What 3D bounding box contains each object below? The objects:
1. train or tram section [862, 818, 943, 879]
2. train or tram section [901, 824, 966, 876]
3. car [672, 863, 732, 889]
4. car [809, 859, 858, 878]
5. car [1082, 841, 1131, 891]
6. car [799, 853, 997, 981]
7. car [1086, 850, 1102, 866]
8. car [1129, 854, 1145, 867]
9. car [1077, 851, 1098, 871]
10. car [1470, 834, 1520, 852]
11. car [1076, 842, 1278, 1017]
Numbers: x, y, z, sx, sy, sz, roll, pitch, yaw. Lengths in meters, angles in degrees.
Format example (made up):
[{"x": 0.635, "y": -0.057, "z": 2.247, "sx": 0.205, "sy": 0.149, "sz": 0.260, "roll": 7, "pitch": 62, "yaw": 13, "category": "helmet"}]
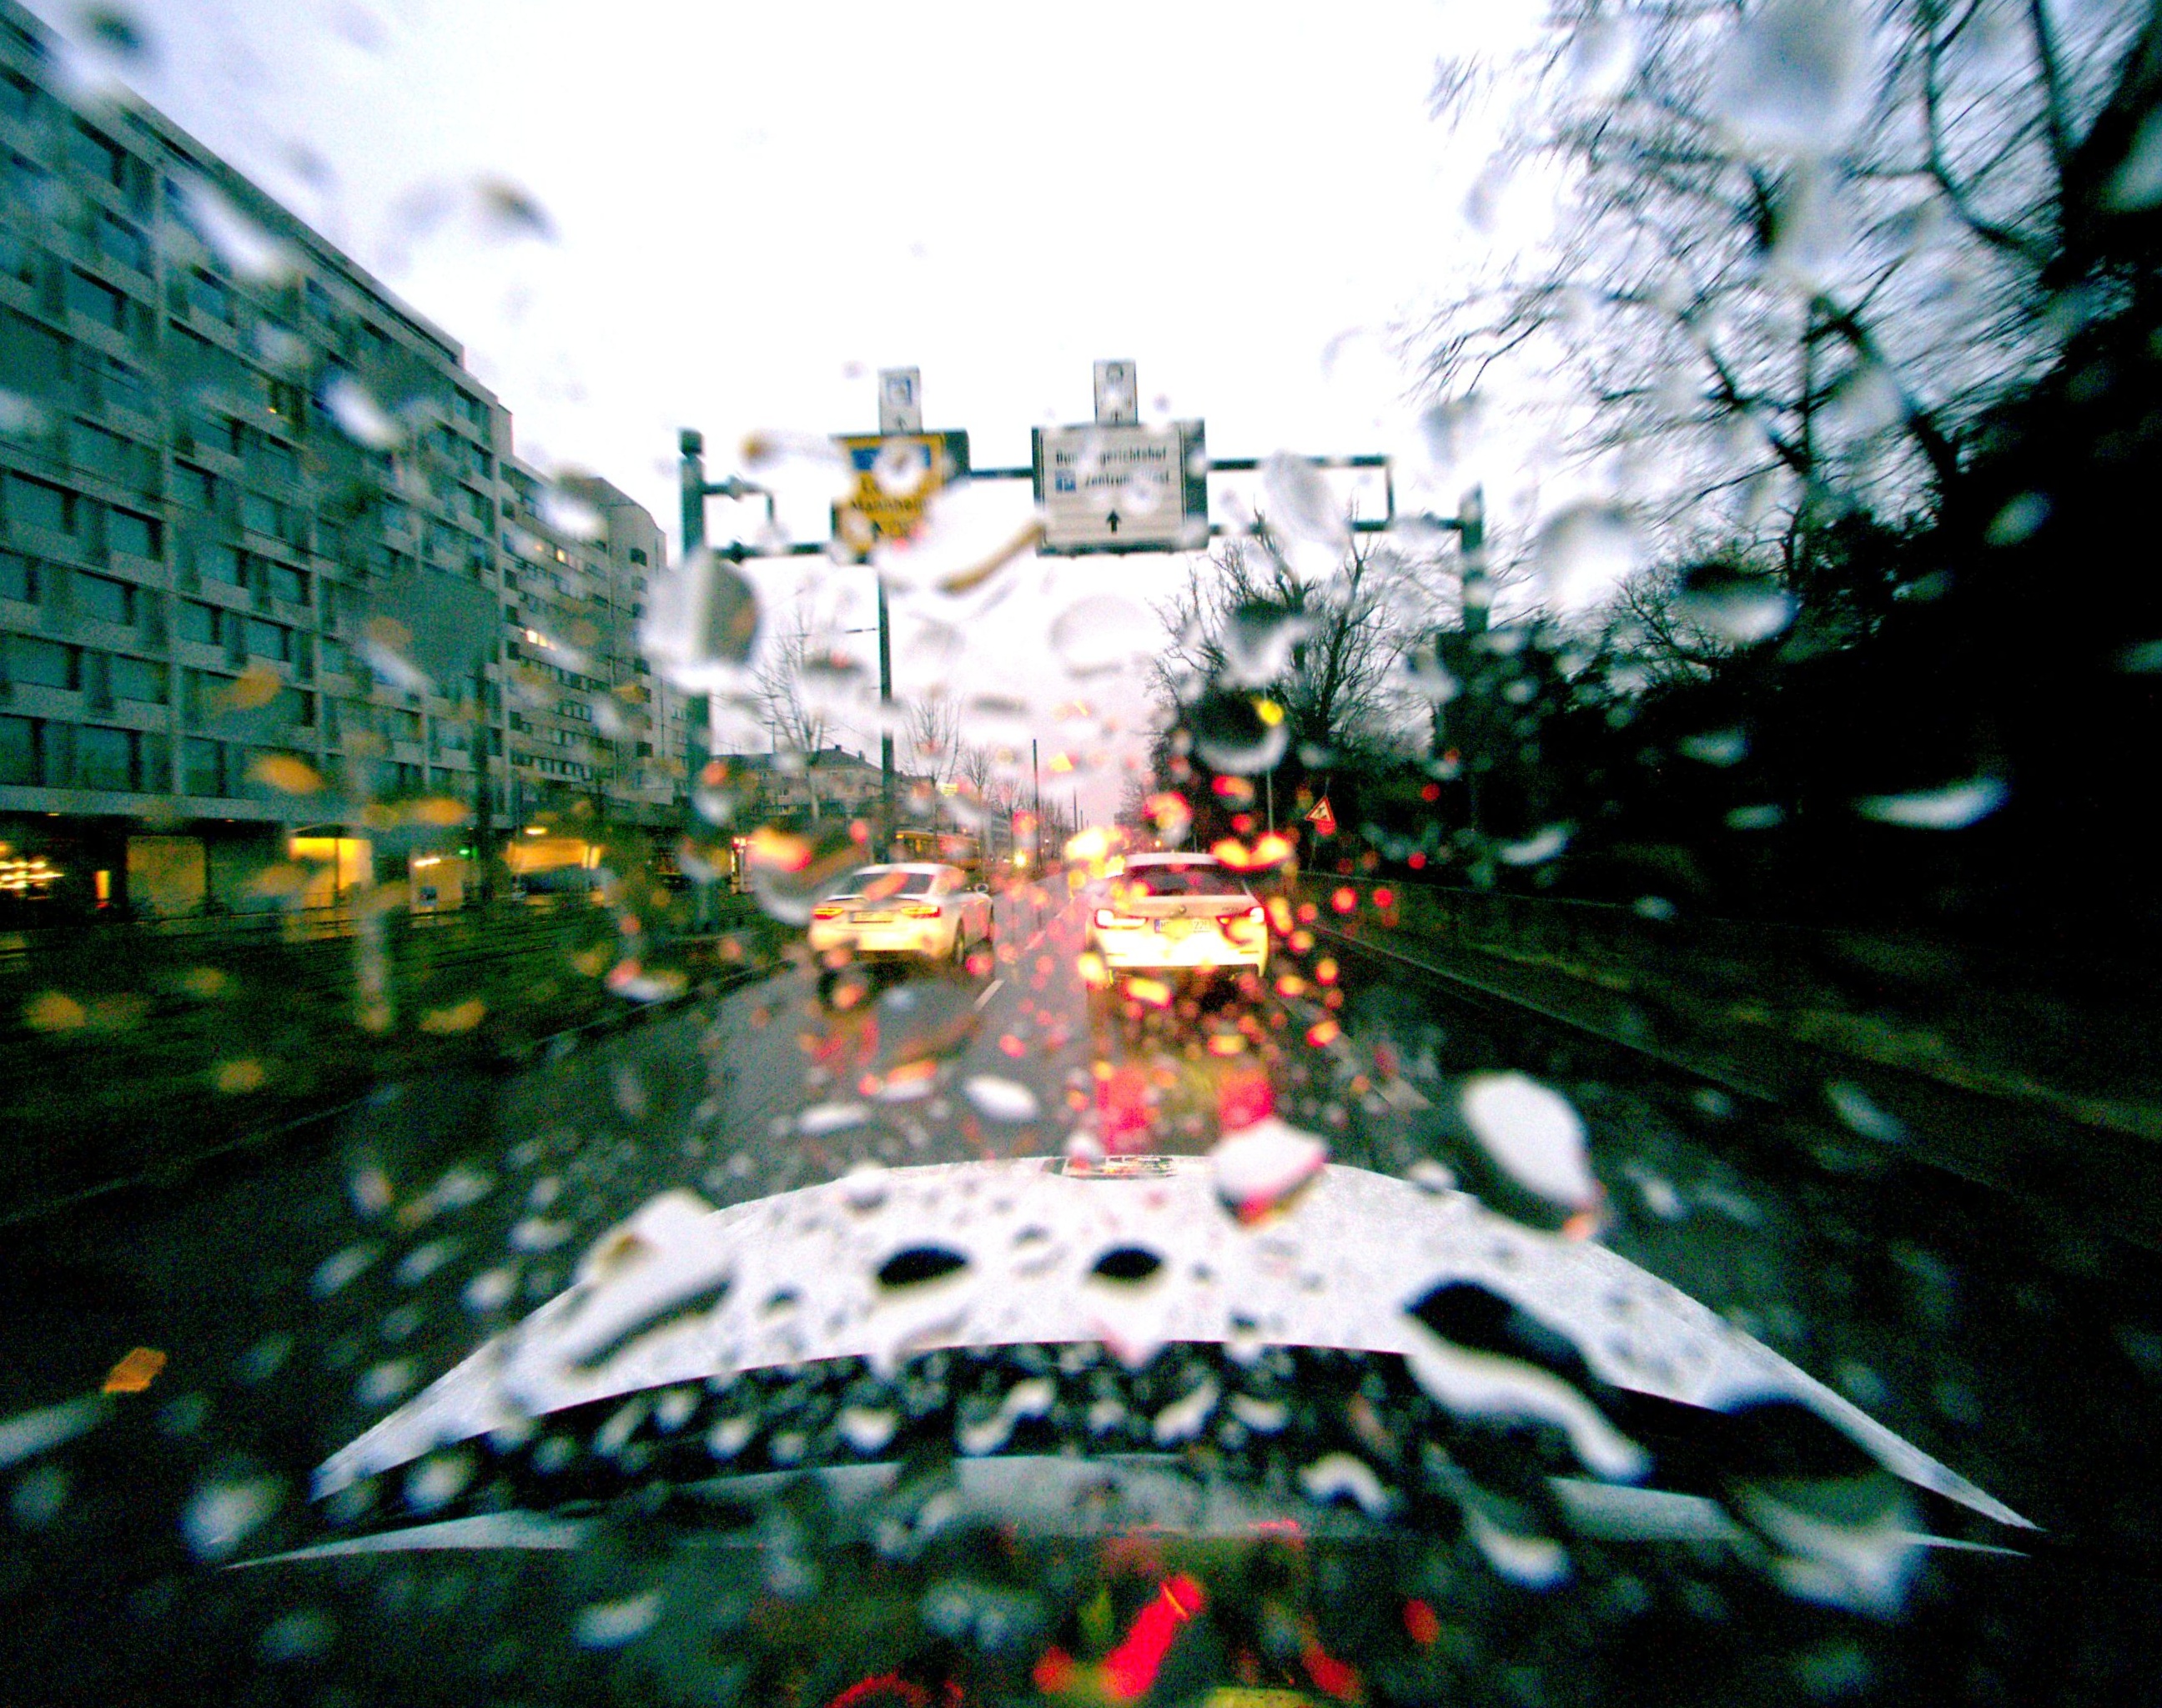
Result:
[{"x": -11.399, "y": -0.305, "z": 53.014, "sx": 2.831, "sy": 3.504, "sz": 9.162, "roll": -3, "pitch": 0, "yaw": 2, "category": "train or tram section"}, {"x": -11.068, "y": -0.291, "z": 62.198, "sx": 2.831, "sy": 3.504, "sz": 9.162, "roll": -3, "pitch": 0, "yaw": 2, "category": "train or tram section"}, {"x": -29.490, "y": 1.668, "z": 63.387, "sx": 3.839, "sy": 1.797, "sz": 1.887, "roll": -2, "pitch": 0, "yaw": -39, "category": "car"}, {"x": -27.919, "y": 1.602, "z": 91.946, "sx": 4.909, "sy": 2.013, "sz": 1.977, "roll": -2, "pitch": 0, "yaw": -40, "category": "car"}, {"x": 1.100, "y": 0.503, "z": 35.334, "sx": 1.986, "sy": 2.013, "sz": 4.002, "roll": -1, "pitch": 0, "yaw": 2, "category": "car"}, {"x": -2.367, "y": 0.738, "z": 11.658, "sx": 1.753, "sy": 1.469, "sz": 4.252, "roll": -1, "pitch": 0, "yaw": 1, "category": "car"}, {"x": 1.675, "y": 0.558, "z": 105.925, "sx": 1.986, "sy": 2.013, "sz": 4.002, "roll": -1, "pitch": 0, "yaw": 2, "category": "car"}, {"x": 8.749, "y": 1.052, "z": 127.010, "sx": 1.980, "sy": 2.013, "sz": 4.014, "roll": -1, "pitch": 0, "yaw": 13, "category": "car"}, {"x": 0.717, "y": 0.683, "z": 81.574, "sx": 1.986, "sy": 2.013, "sz": 4.002, "roll": -1, "pitch": 0, "yaw": 2, "category": "car"}, {"x": 41.064, "y": -1.059, "z": 80.842, "sx": 1.825, "sy": 1.662, "sz": 3.958, "roll": -1, "pitch": 0, "yaw": -34, "category": "car"}, {"x": 0.862, "y": 0.687, "z": 9.528, "sx": 1.755, "sy": 1.552, "sz": 4.249, "roll": -1, "pitch": 0, "yaw": -2, "category": "car"}]
